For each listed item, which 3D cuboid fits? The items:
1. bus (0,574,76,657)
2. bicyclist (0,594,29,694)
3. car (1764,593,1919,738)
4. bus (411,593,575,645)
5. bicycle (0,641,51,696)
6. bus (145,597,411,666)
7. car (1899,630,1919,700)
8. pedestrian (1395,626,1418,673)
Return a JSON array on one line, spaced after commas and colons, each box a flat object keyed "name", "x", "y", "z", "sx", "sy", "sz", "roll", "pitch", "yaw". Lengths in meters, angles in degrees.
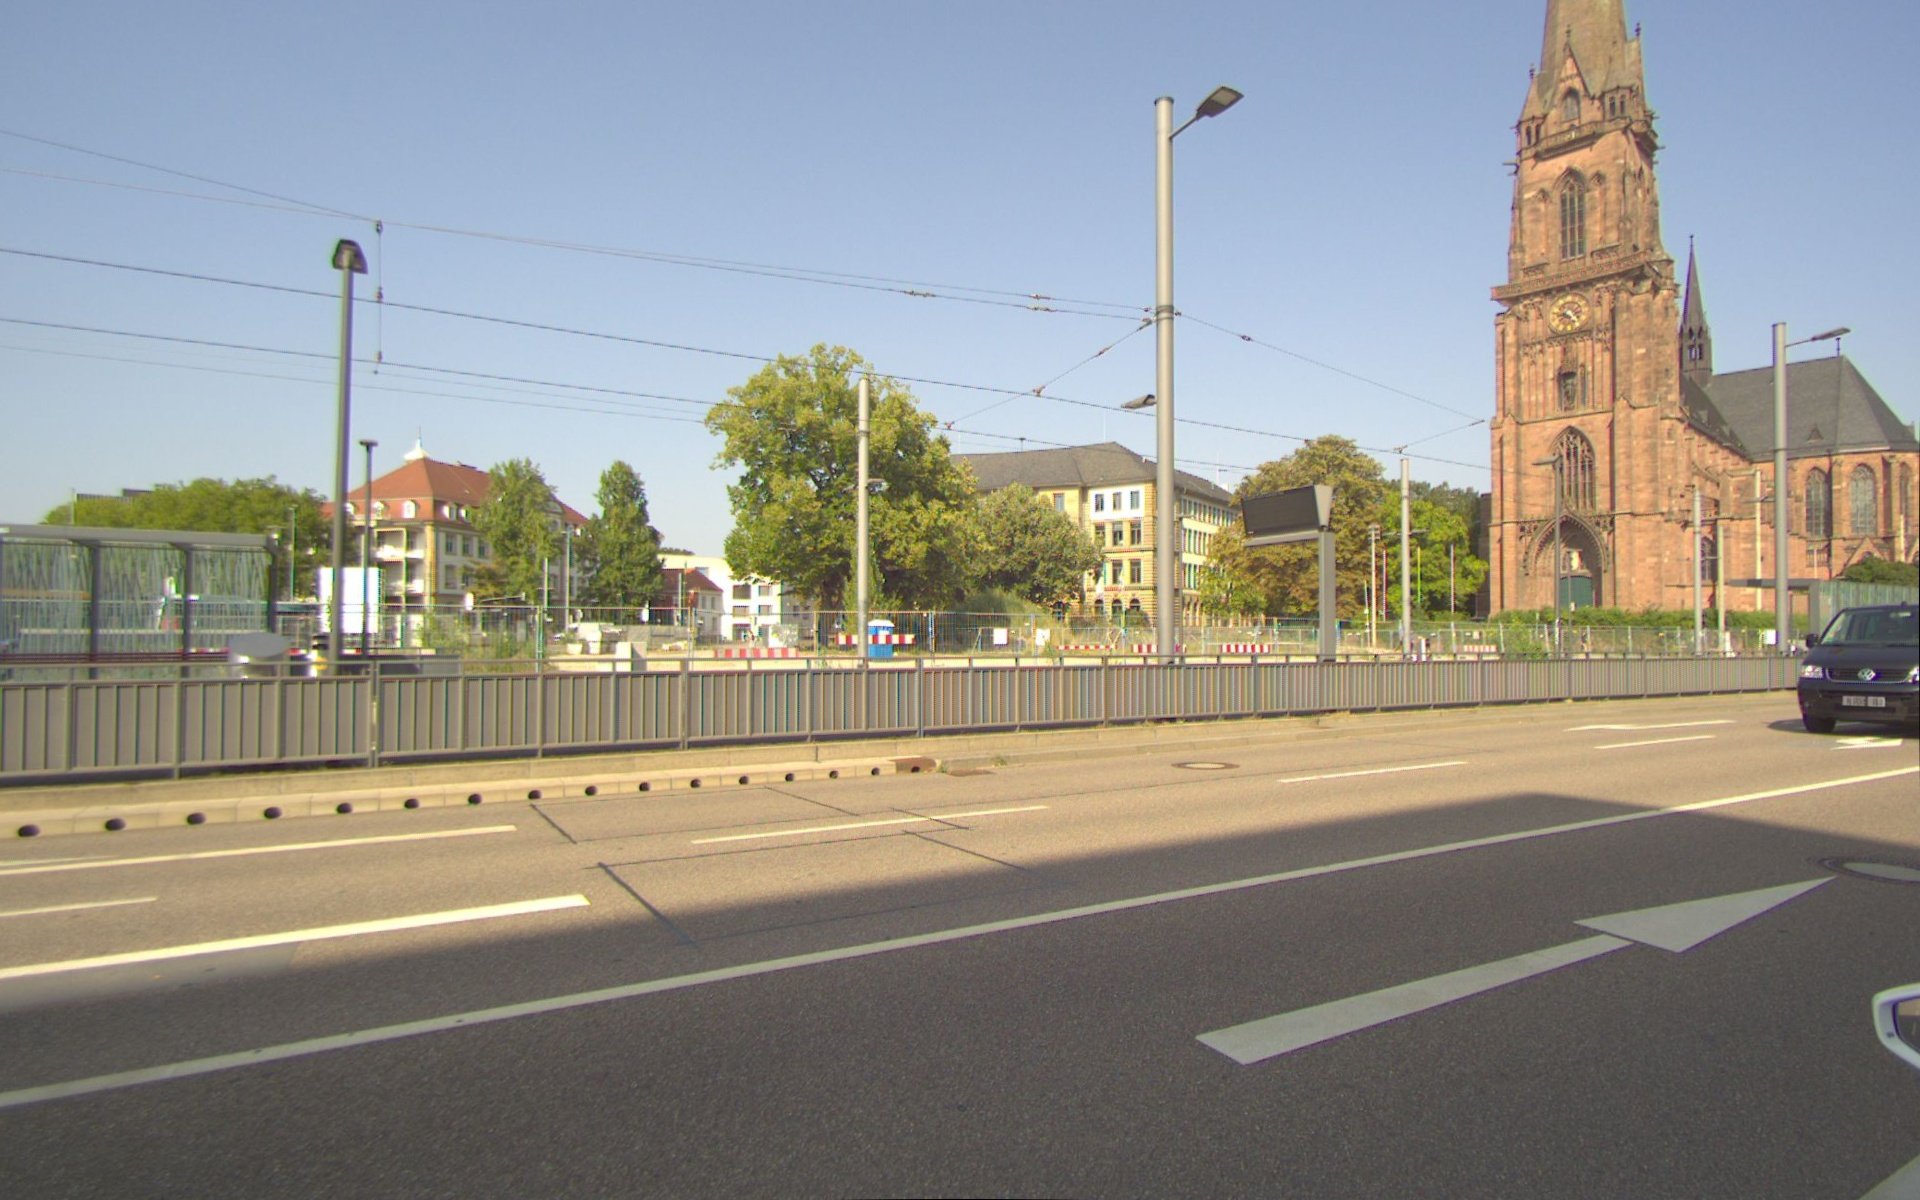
[{"name": "bus", "x": -39.838, "y": 0.493, "z": 35.701, "sx": 3.160, "sy": 3.220, "sz": 13.327, "roll": 0, "pitch": -2, "yaw": 12}, {"name": "bicyclist", "x": -17.192, "y": 0.784, "z": 17.864, "sx": 0.809, "sy": 1.770, "sz": 0.484, "roll": 1, "pitch": -2, "yaw": -30}, {"name": "car", "x": 14.441, "y": 0.955, "z": 15.203, "sx": 4.661, "sy": 1.929, "sz": 1.984, "roll": 1, "pitch": -3, "yaw": -31}, {"name": "bus", "x": -33.380, "y": 1.480, "z": 72.895, "sx": 3.160, "sy": 3.464, "sz": 13.326, "roll": 0, "pitch": -2, "yaw": 14}, {"name": "bicycle", "x": -17.341, "y": 1.215, "z": 17.876, "sx": 1.675, "sy": 0.966, "sz": 0.348, "roll": 1, "pitch": -2, "yaw": -30}, {"name": "bus", "x": -35.735, "y": 1.721, "z": 53.879, "sx": 3.159, "sy": 3.220, "sz": 13.327, "roll": 0, "pitch": -2, "yaw": 12}, {"name": "car", "x": 24.499, "y": 1.530, "z": 24.063, "sx": 4.452, "sy": 1.632, "sz": 1.705, "roll": 1, "pitch": -3, "yaw": -31}, {"name": "pedestrian", "x": 16.643, "y": 1.835, "z": 37.444, "sx": 0.657, "sy": 1.723, "sz": 0.514, "roll": 1, "pitch": -2, "yaw": -31}]
